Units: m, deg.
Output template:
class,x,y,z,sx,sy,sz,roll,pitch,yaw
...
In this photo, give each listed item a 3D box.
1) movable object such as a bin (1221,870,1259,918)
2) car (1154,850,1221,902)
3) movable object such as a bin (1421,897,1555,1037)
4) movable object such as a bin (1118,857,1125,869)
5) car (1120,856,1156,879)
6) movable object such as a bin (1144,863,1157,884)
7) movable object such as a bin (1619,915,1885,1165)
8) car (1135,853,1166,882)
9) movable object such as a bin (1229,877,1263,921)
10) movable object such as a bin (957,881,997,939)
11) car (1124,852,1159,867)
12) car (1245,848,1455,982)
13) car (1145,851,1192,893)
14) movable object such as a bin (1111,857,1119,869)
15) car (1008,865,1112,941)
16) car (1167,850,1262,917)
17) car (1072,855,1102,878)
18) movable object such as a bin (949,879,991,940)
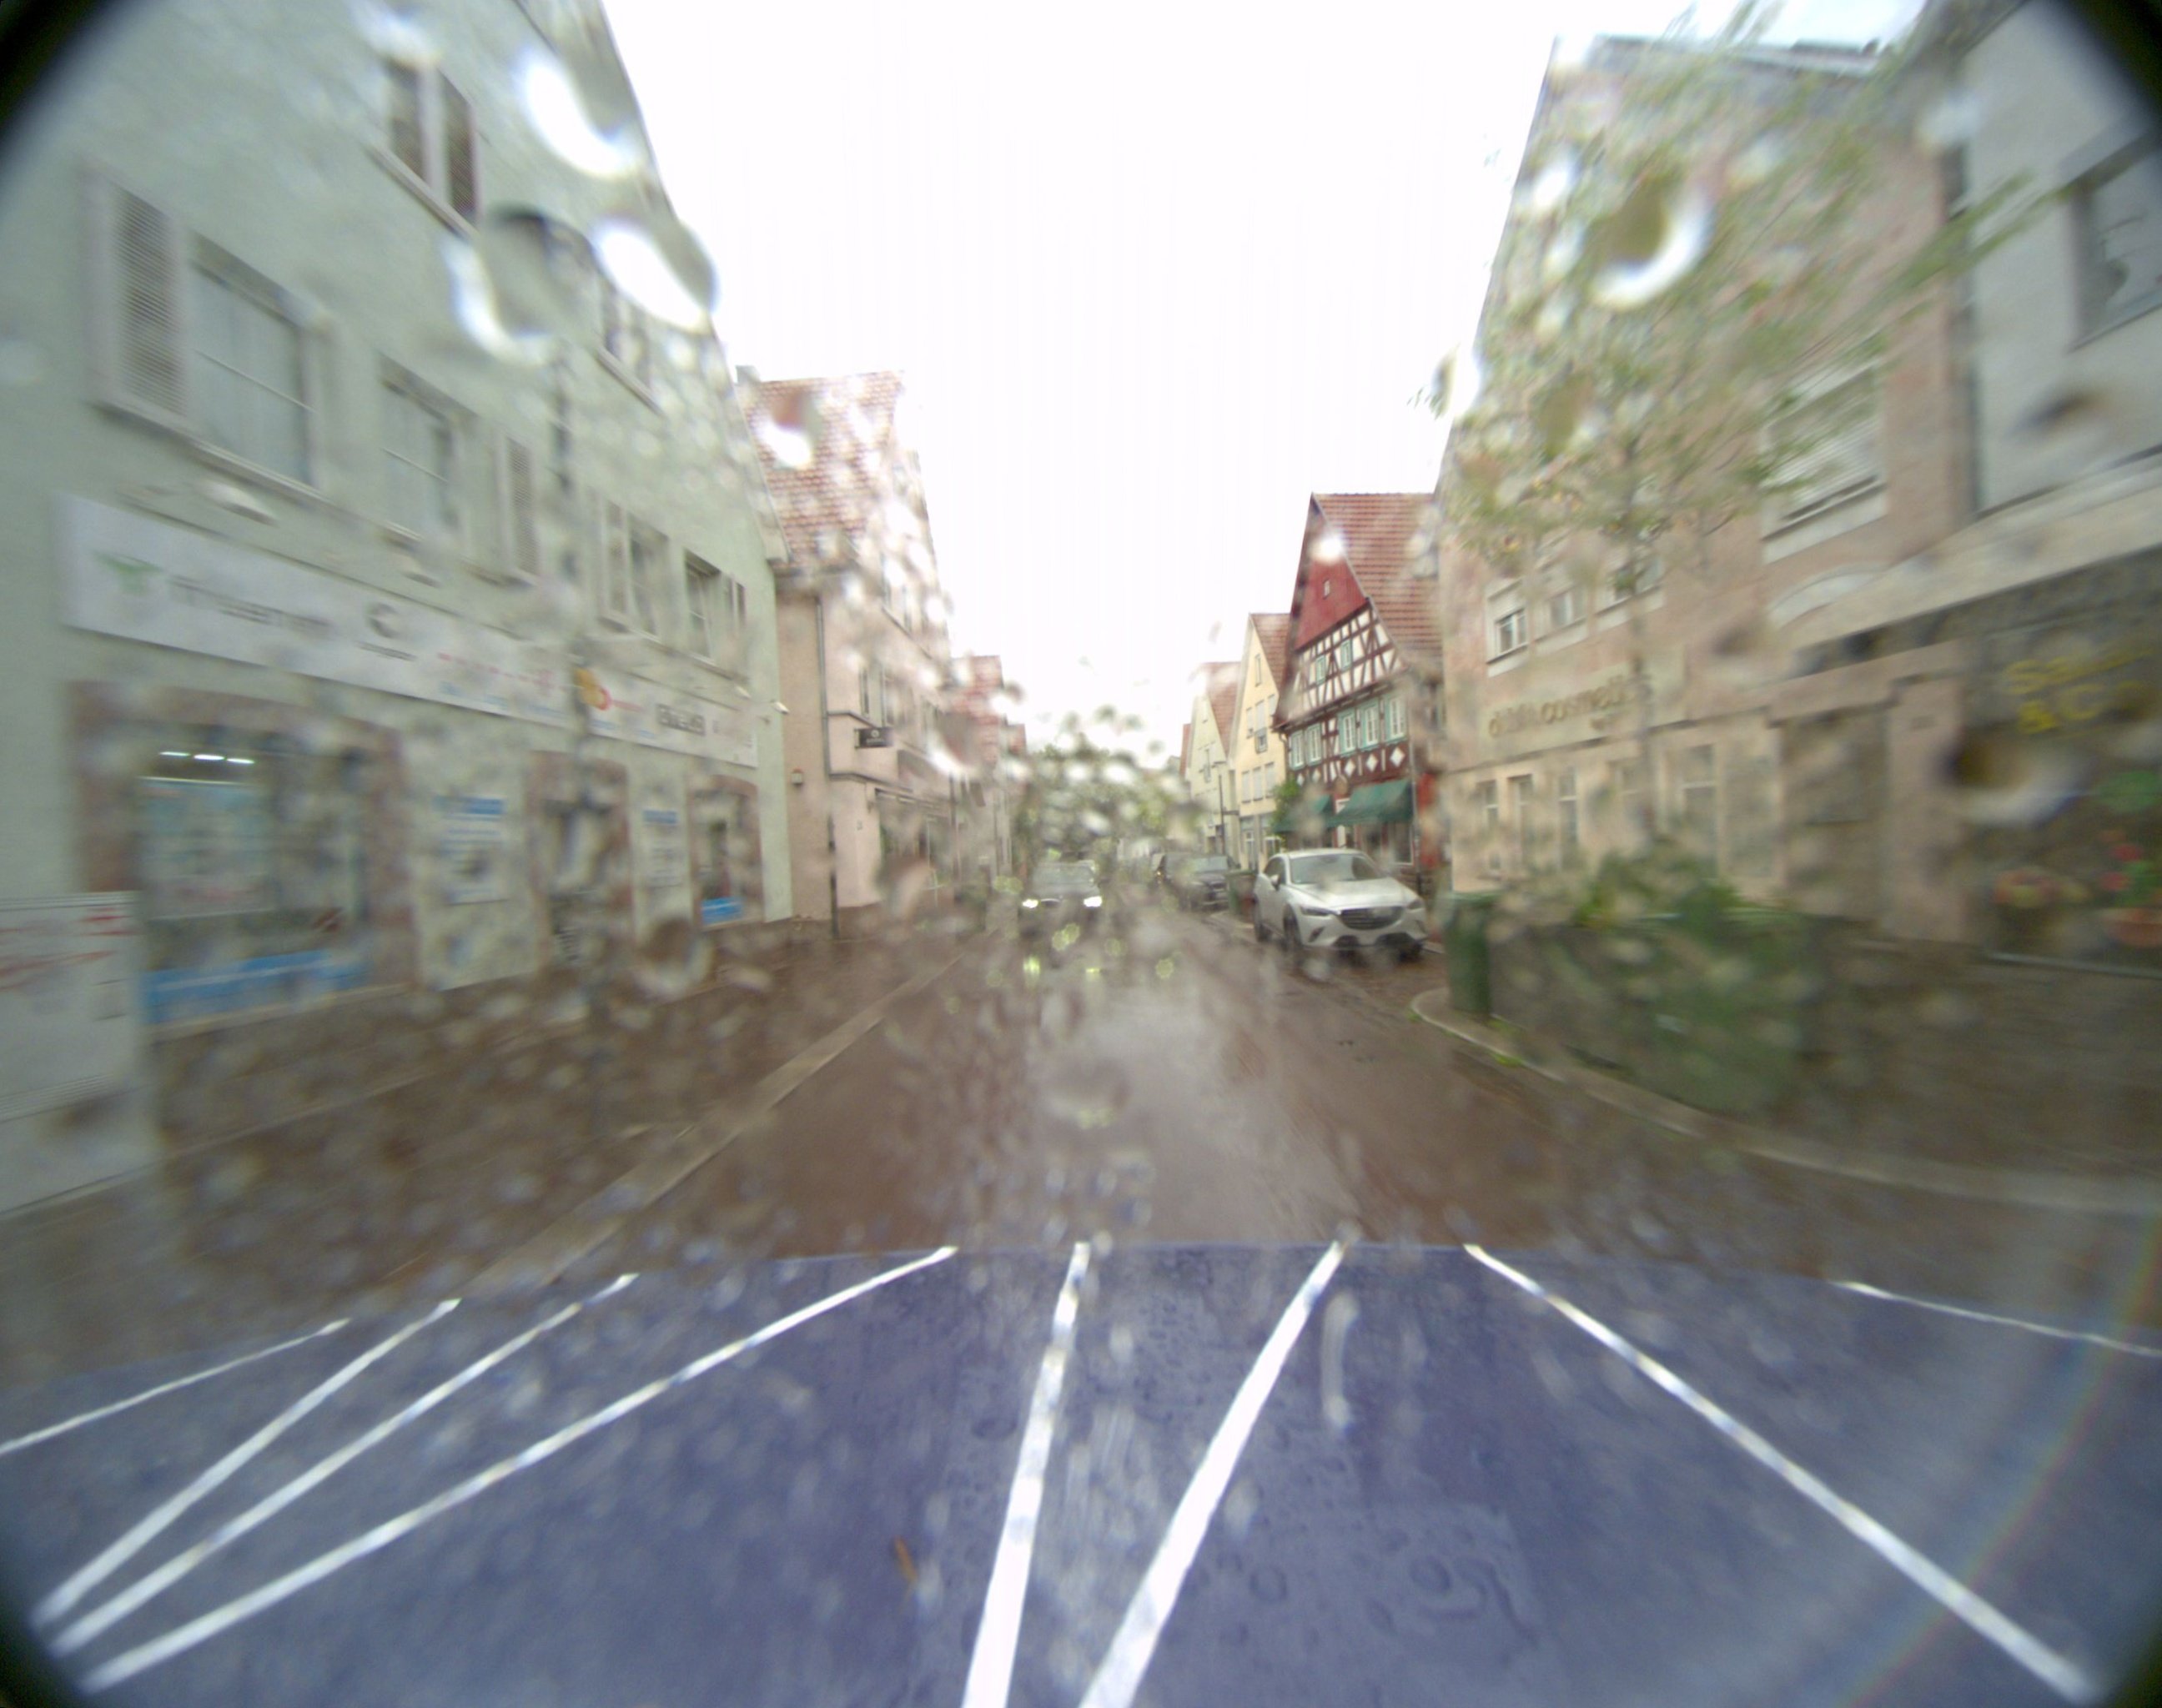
class,x,y,z,sx,sy,sz,roll,pitch,yaw
movable object such as a bin,3.845,0.965,18.421,0.749,1.076,0.763,-3,1,3
car,3.898,0.743,28.556,1.838,1.665,4.539,-3,1,0
movable object such as a bin,3.568,0.966,6.705,0.817,1.100,0.610,-3,2,-4
movable object such as a bin,4.143,0.934,77.084,0.477,1.162,0.489,-2,2,27
car,3.856,0.903,52.490,1.806,1.424,4.627,-3,-1,-3
movable object such as a bin,3.787,1.066,41.582,0.622,1.073,0.725,-3,1,3
movable object such as a bin,3.542,0.942,4.060,0.817,1.100,0.610,-6,2,-4
car,4.223,0.806,46.626,1.596,1.537,3.976,-3,1,2
movable object such as a bin,3.843,1.047,17.735,0.658,0.950,0.562,-3,1,3
movable object such as a bin,-2.273,1.221,16.667,0.720,1.194,0.573,-3,2,3
car,6.578,0.607,81.666,1.691,1.530,4.412,-2,0,35
car,3.786,0.750,11.480,1.831,1.557,4.000,-3,1,2
car,4.033,0.771,35.576,1.776,1.665,4.479,-4,1,2
movable object such as a bin,3.477,0.943,77.616,0.545,1.143,0.586,-2,2,27
car,-0.582,0.999,17.541,1.999,1.398,4.892,-3,0,-4
car,3.779,0.763,22.201,1.838,1.543,4.280,-6,1,0
car,0.466,0.851,55.288,1.998,1.445,4.000,-3,1,2
movable object such as a bin,-2.330,1.157,16.021,0.720,1.194,0.578,-3,2,3
